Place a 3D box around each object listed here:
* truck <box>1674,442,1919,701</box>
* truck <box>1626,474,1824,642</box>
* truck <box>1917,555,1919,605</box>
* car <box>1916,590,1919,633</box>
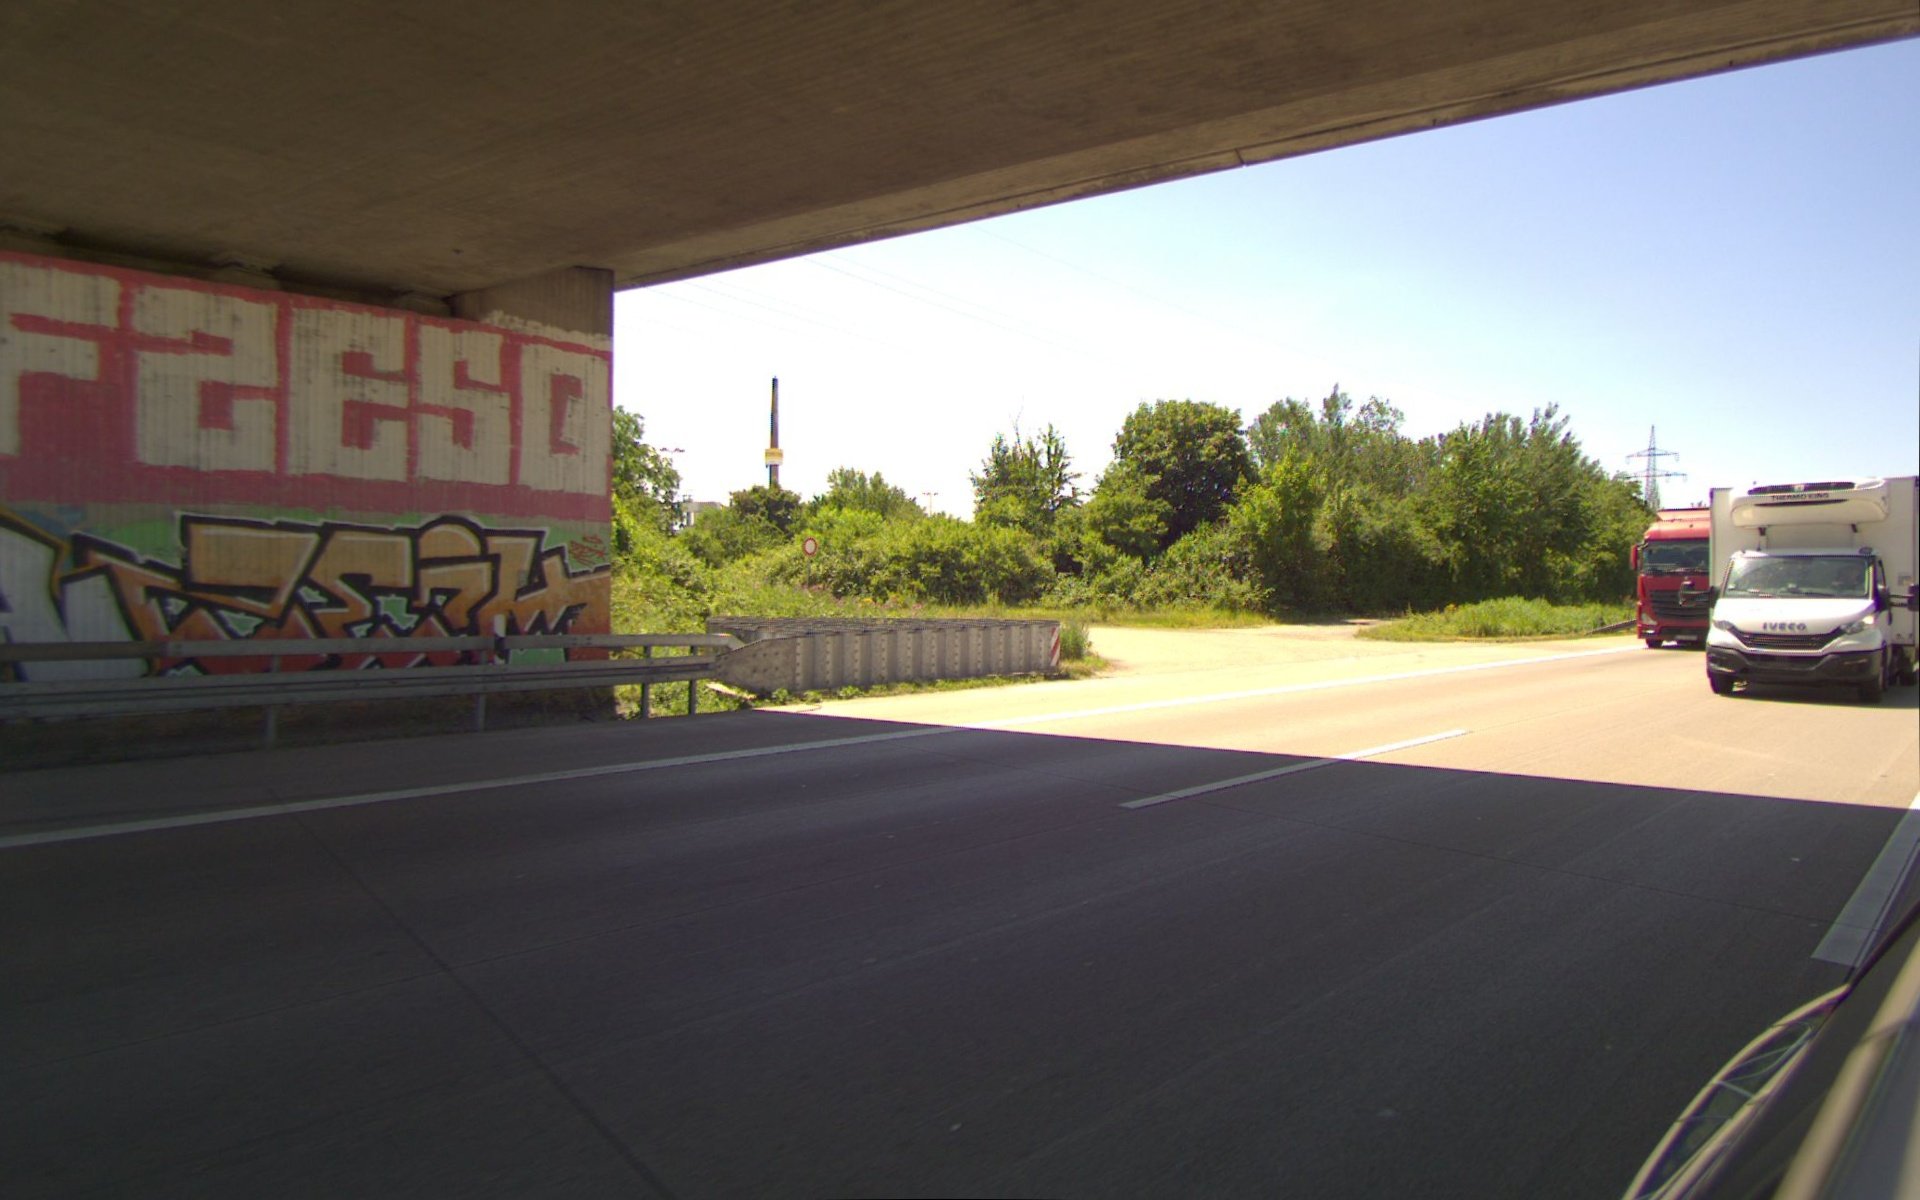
[{"bbox_3d":[14.546,-0.402,16.875,7.681,3.390,2.780,0,0,-43],"label":"truck"},{"bbox_3d":[23.679,-1.143,31.013,10.699,4.377,2.852,0,0,-42],"label":"truck"},{"bbox_3d":[71.850,-1.423,73.762,6.345,3.598,2.455,0,0,-41],"label":"truck"},{"bbox_3d":[34.739,0.390,35.289,3.930,1.466,1.669,0,0,-41],"label":"car"}]
